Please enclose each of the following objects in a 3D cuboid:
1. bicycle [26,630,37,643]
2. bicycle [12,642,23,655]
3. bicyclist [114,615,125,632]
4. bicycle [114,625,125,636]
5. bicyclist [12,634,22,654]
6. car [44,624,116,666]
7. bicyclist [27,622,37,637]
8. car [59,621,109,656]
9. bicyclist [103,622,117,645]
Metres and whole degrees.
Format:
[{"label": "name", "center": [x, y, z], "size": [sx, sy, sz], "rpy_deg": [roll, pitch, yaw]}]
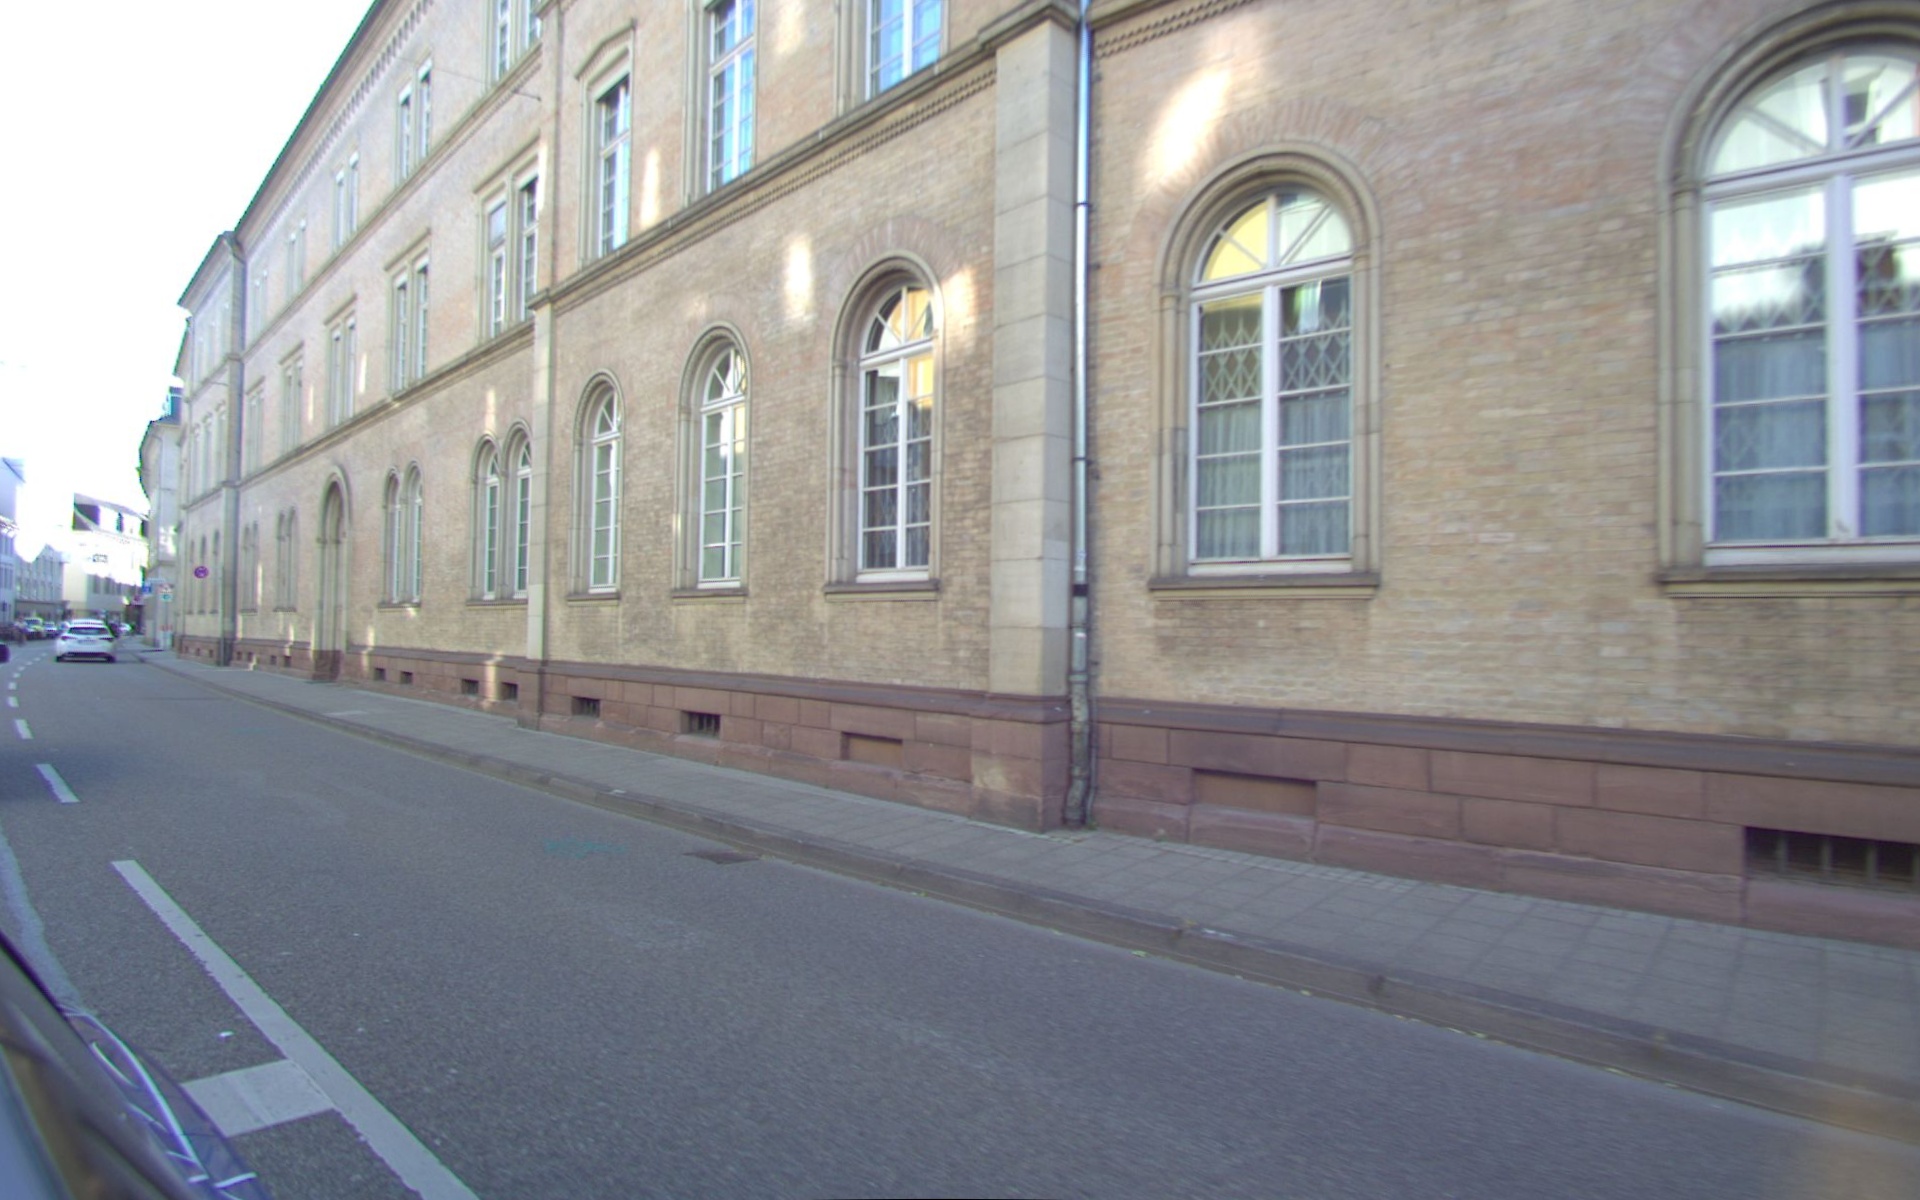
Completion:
[{"label": "bicycle", "center": [-77.099, 3.019, 84.039], "size": [0.540, 1.091, 1.967], "rpy_deg": [2, -2, -40]}, {"label": "bicycle", "center": [-53.145, 2.749, 57.046], "size": [0.343, 0.729, 1.119], "rpy_deg": [2, -3, -39]}, {"label": "bicyclist", "center": [-77.018, 2.188, 92.783], "size": [0.642, 1.520, 1.113], "rpy_deg": [5, -5, -38]}, {"label": "bicycle", "center": [-76.987, 2.802, 92.704], "size": [0.642, 1.014, 1.879], "rpy_deg": [5, -5, -38]}, {"label": "bicyclist", "center": [-53.148, 2.466, 57.059], "size": [0.343, 1.116, 0.368], "rpy_deg": [2, -3, -39]}, {"label": "car", "center": [-33.845, 1.696, 38.870], "size": [1.864, 1.487, 4.550], "rpy_deg": [5, -4, -43]}, {"label": "bicyclist", "center": [-77.091, 2.474, 84.050], "size": [0.540, 1.220, 0.584], "rpy_deg": [2, -2, -40]}, {"label": "car", "center": [-42.809, 1.859, 49.440], "size": [1.665, 1.595, 4.280], "rpy_deg": [5, -5, -41]}, {"label": "bicyclist", "center": [-53.720, 2.097, 63.970], "size": [0.596, 1.454, 0.579], "rpy_deg": [2, -3, -43]}]
